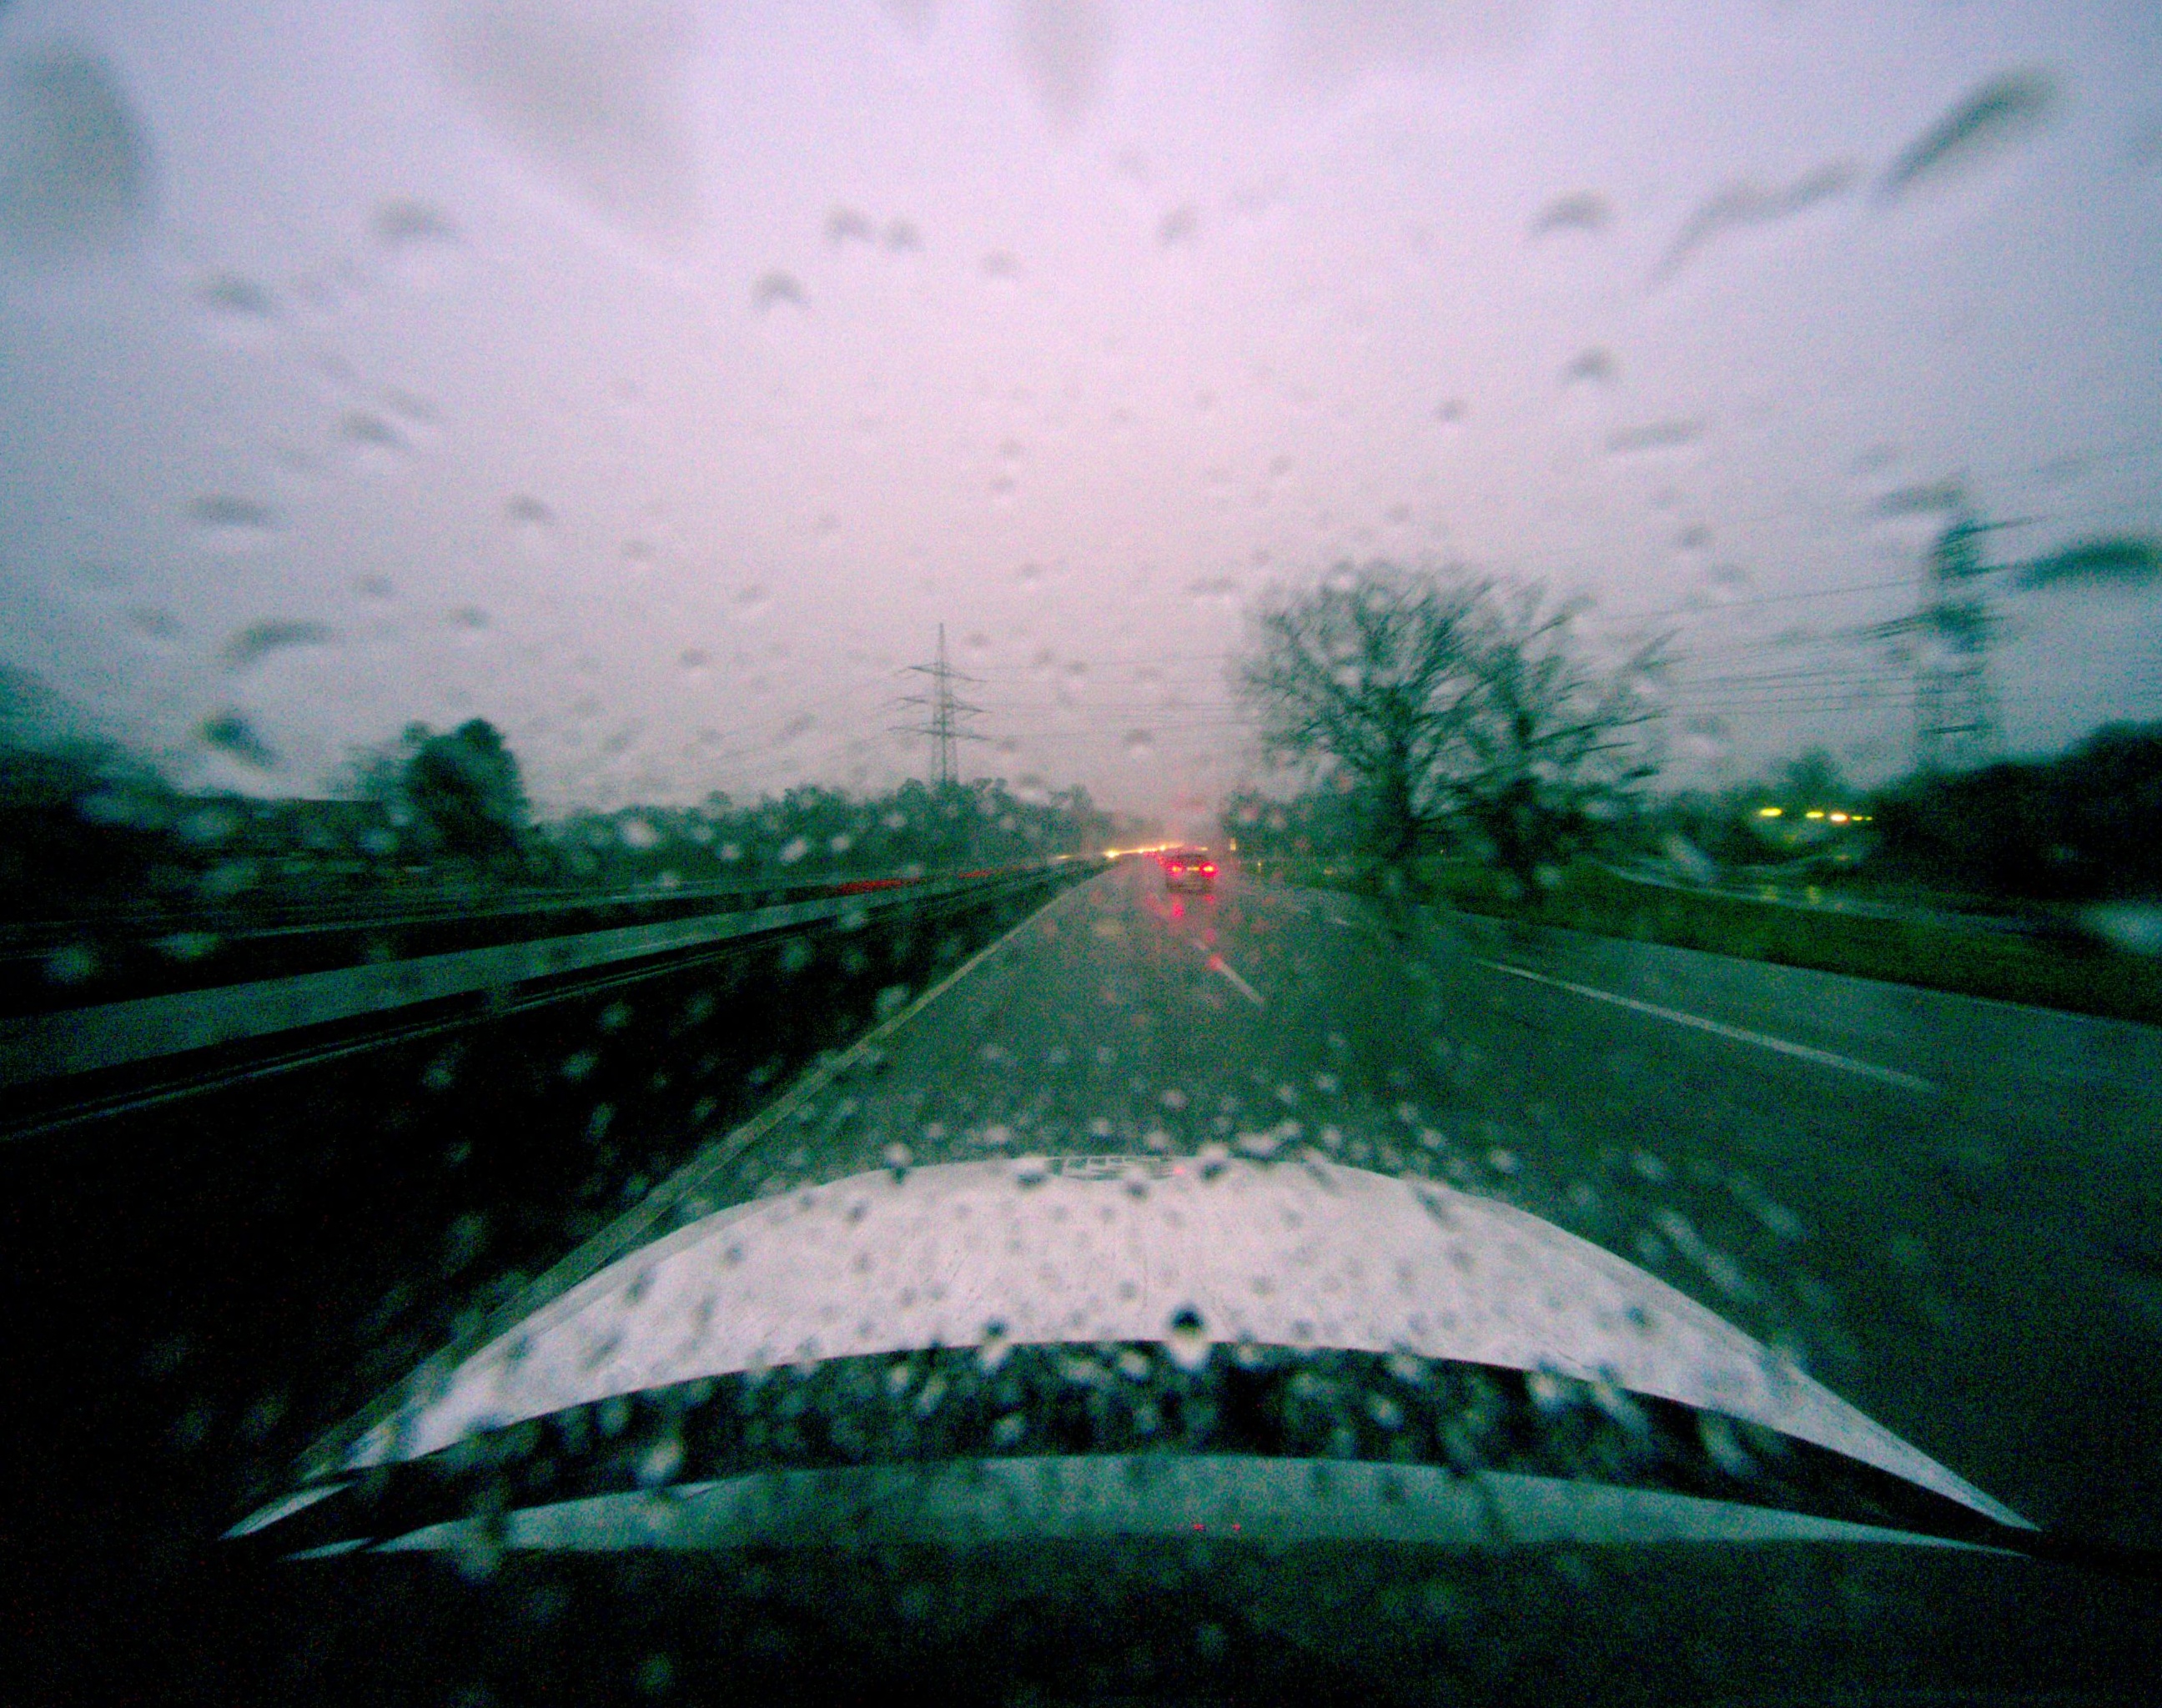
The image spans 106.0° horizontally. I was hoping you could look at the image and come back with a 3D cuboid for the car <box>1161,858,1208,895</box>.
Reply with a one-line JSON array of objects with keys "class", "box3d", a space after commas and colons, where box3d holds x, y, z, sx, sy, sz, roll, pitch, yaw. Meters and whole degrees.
[{"class": "car", "box3d": [4.536, 0.959, 36.241, 1.672, 1.508, 3.810, -1, 1, 1]}]
